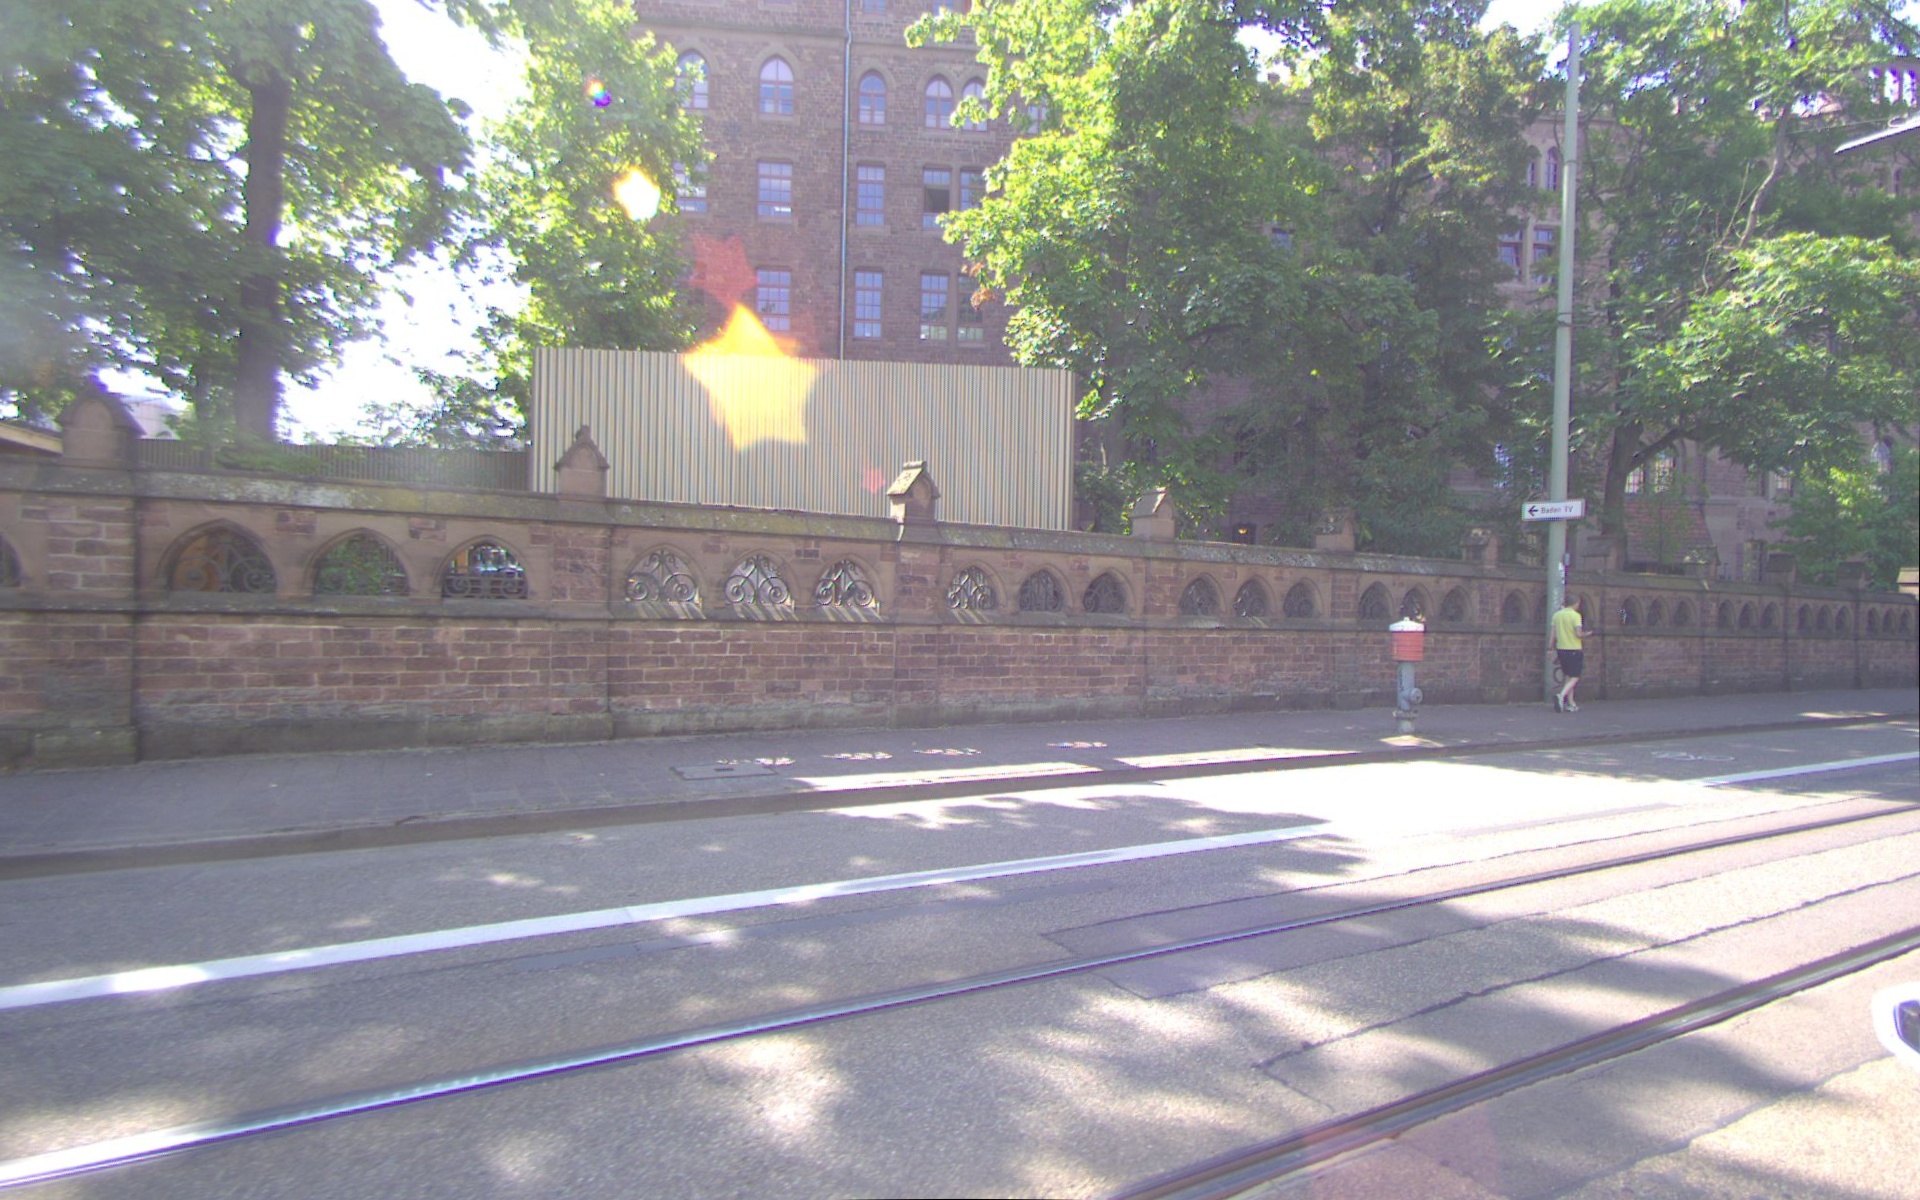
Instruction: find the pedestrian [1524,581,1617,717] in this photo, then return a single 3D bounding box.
[{"bbox_3d":[9.551,0.745,15.724,0.972,2.040,0.859,1,0,-31],"label":"pedestrian"}]
